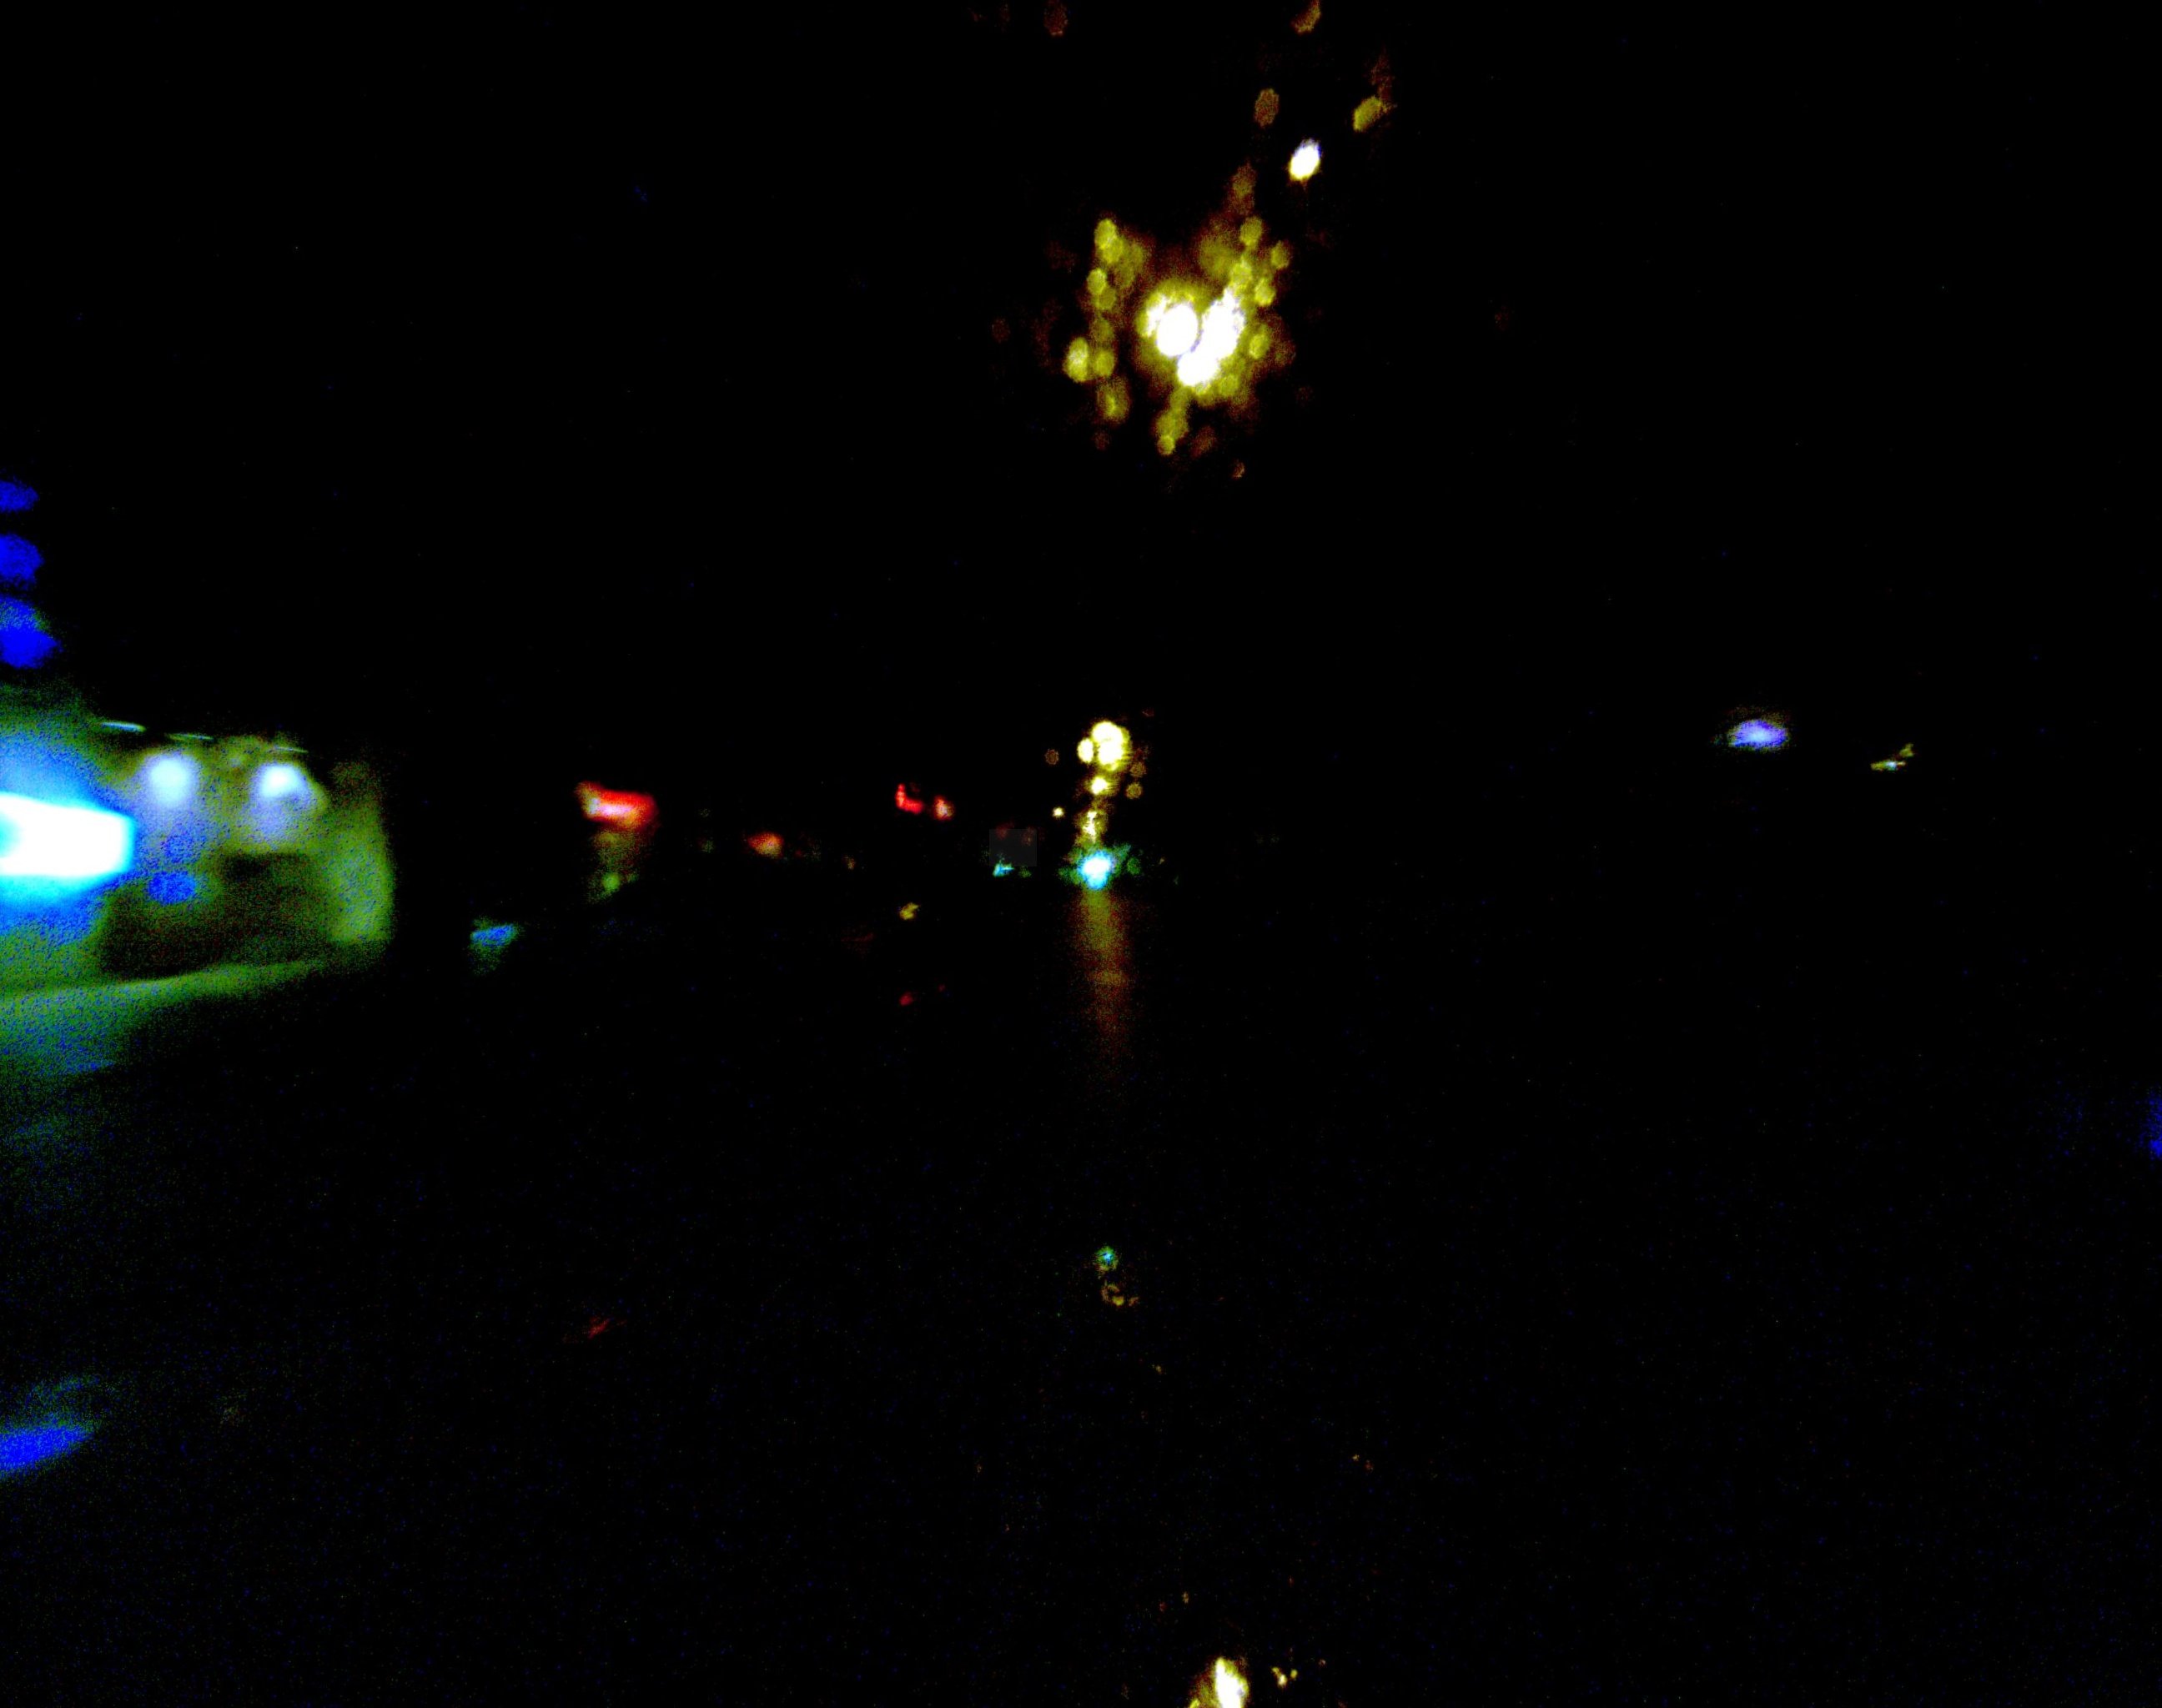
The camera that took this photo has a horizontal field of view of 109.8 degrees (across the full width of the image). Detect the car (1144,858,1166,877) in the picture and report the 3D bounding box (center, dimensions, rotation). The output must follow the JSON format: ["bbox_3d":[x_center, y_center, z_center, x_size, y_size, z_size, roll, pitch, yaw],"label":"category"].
[{"bbox_3d":[6.021,1.081,62.367,1.531,1.445,3.384,-1,0,1],"label":"car"}]

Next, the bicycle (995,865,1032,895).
[{"bbox_3d":[-3.027,1.157,33.996,1.532,1.195,0.366,5,1,3],"label":"bicycle"}]

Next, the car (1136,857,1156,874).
[{"bbox_3d":[6.207,1.115,72.579,1.697,1.470,3.964,-1,-1,2],"label":"car"}]

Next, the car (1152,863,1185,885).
[{"bbox_3d":[5.816,1.311,50.808,1.731,1.384,4.555,-1,0,1],"label":"car"}]

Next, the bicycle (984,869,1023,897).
[{"bbox_3d":[-3.290,1.236,32.417,1.532,1.018,0.366,5,1,-1],"label":"bicycle"}]

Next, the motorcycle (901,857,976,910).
[{"bbox_3d":[-4.615,0.947,24.701,2.178,1.538,0.867,3,1,0],"label":"motorcycle"}]

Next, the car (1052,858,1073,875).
[{"bbox_3d":[-1.721,1.168,72.881,1.846,1.498,4.162,0,0,1],"label":"car"}]

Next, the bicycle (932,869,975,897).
[{"bbox_3d":[-4.829,1.099,28.811,1.533,0.947,0.366,5,1,-3],"label":"bicycle"}]

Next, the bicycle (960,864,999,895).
[{"bbox_3d":[-4.425,1.094,33.080,1.532,1.195,0.366,5,1,-1],"label":"bicycle"}]

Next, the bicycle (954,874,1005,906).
[{"bbox_3d":[-3.586,1.272,26.756,1.672,0.947,0.366,5,1,8],"label":"bicycle"}]

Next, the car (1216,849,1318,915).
[{"bbox_3d":[5.640,0.786,23.793,2.001,1.818,5.207,-1,0,1],"label":"car"}]

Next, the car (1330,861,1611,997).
[{"bbox_3d":[5.381,0.913,11.355,1.771,1.474,4.772,-4,0,2],"label":"car"}]

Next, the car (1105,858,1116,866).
[{"bbox_3d":[5.485,1.465,142.513,1.877,1.386,4.075,-1,-1,4],"label":"car"}]

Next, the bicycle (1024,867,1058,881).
[{"bbox_3d":[-2.656,1.341,50.536,2.267,0.889,0.619,0,0,30],"label":"bicycle"}]

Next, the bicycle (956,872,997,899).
[{"bbox_3d":[-4.218,1.255,30.676,1.532,0.947,0.366,5,1,4],"label":"bicycle"}]

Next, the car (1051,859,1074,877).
[{"bbox_3d":[-1.604,1.184,67.169,1.846,1.498,4.162,0,0,1],"label":"car"}]

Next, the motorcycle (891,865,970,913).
[{"bbox_3d":[-4.603,1.066,23.365,2.178,1.311,0.867,3,1,0],"label":"motorcycle"}]

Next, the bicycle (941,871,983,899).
[{"bbox_3d":[-4.680,1.207,29.862,1.533,0.947,0.366,5,1,-3],"label":"bicycle"}]

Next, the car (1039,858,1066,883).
[{"bbox_3d":[-2.052,1.184,55.560,1.676,1.712,3.857,0,0,1],"label":"car"}]

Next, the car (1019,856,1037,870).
[{"bbox_3d":[-6.587,1.051,94.038,1.846,1.687,4.162,0,0,1],"label":"car"}]

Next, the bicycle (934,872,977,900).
[{"bbox_3d":[-4.851,1.229,29.428,1.533,0.947,0.366,5,1,-4],"label":"bicycle"}]

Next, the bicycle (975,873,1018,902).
[{"bbox_3d":[-3.254,1.287,29.274,1.533,0.947,0.366,5,1,-3],"label":"bicycle"}]

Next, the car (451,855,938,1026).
[{"bbox_3d":[-4.088,0.881,8.584,4.523,1.522,1.780,3,0,0],"label":"car"}]

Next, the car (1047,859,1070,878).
[{"bbox_3d":[-1.811,1.175,61.813,1.689,1.498,4.162,0,0,1],"label":"car"}]

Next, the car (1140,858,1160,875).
[{"bbox_3d":[6.230,1.099,68.548,1.696,1.470,3.386,-1,-1,5],"label":"car"}]

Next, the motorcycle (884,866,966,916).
[{"bbox_3d":[-4.589,1.076,22.433,2.178,1.311,0.867,3,1,0],"label":"motorcycle"}]

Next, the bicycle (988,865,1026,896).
[{"bbox_3d":[-3.258,1.171,33.548,1.532,1.195,0.366,5,1,-1],"label":"bicycle"}]

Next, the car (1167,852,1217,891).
[{"bbox_3d":[5.591,0.839,38.744,1.907,1.818,4.829,-1,0,1],"label":"car"}]

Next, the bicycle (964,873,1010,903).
[{"bbox_3d":[-3.396,1.228,27.475,1.531,0.947,0.366,5,1,8],"label":"bicycle"}]

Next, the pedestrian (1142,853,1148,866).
[{"bbox_3d":[9.947,0.856,118.631,0.776,2.002,0.587,-3,1,1],"label":"pedestrian"}]

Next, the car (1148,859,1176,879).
[{"bbox_3d":[6.024,1.082,56.722,1.731,1.445,4.273,-1,0,1],"label":"car"}]

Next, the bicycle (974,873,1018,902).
[{"bbox_3d":[-3.215,1.269,28.821,1.533,0.947,0.366,5,1,-3],"label":"bicycle"}]

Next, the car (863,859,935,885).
[{"bbox_3d":[-11.495,1.146,48.172,3.996,1.476,1.895,-2,0,2],"label":"car"}]

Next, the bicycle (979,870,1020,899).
[{"bbox_3d":[-3.337,1.244,31.112,1.532,1.018,0.366,5,1,4],"label":"bicycle"}]

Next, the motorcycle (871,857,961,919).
[{"bbox_3d":[-4.643,0.954,21.490,2.294,1.579,0.867,3,1,0],"label":"motorcycle"}]

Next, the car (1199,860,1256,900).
[{"bbox_3d":[5.685,0.969,29.756,1.573,1.451,3.720,-1,0,1],"label":"car"}]
